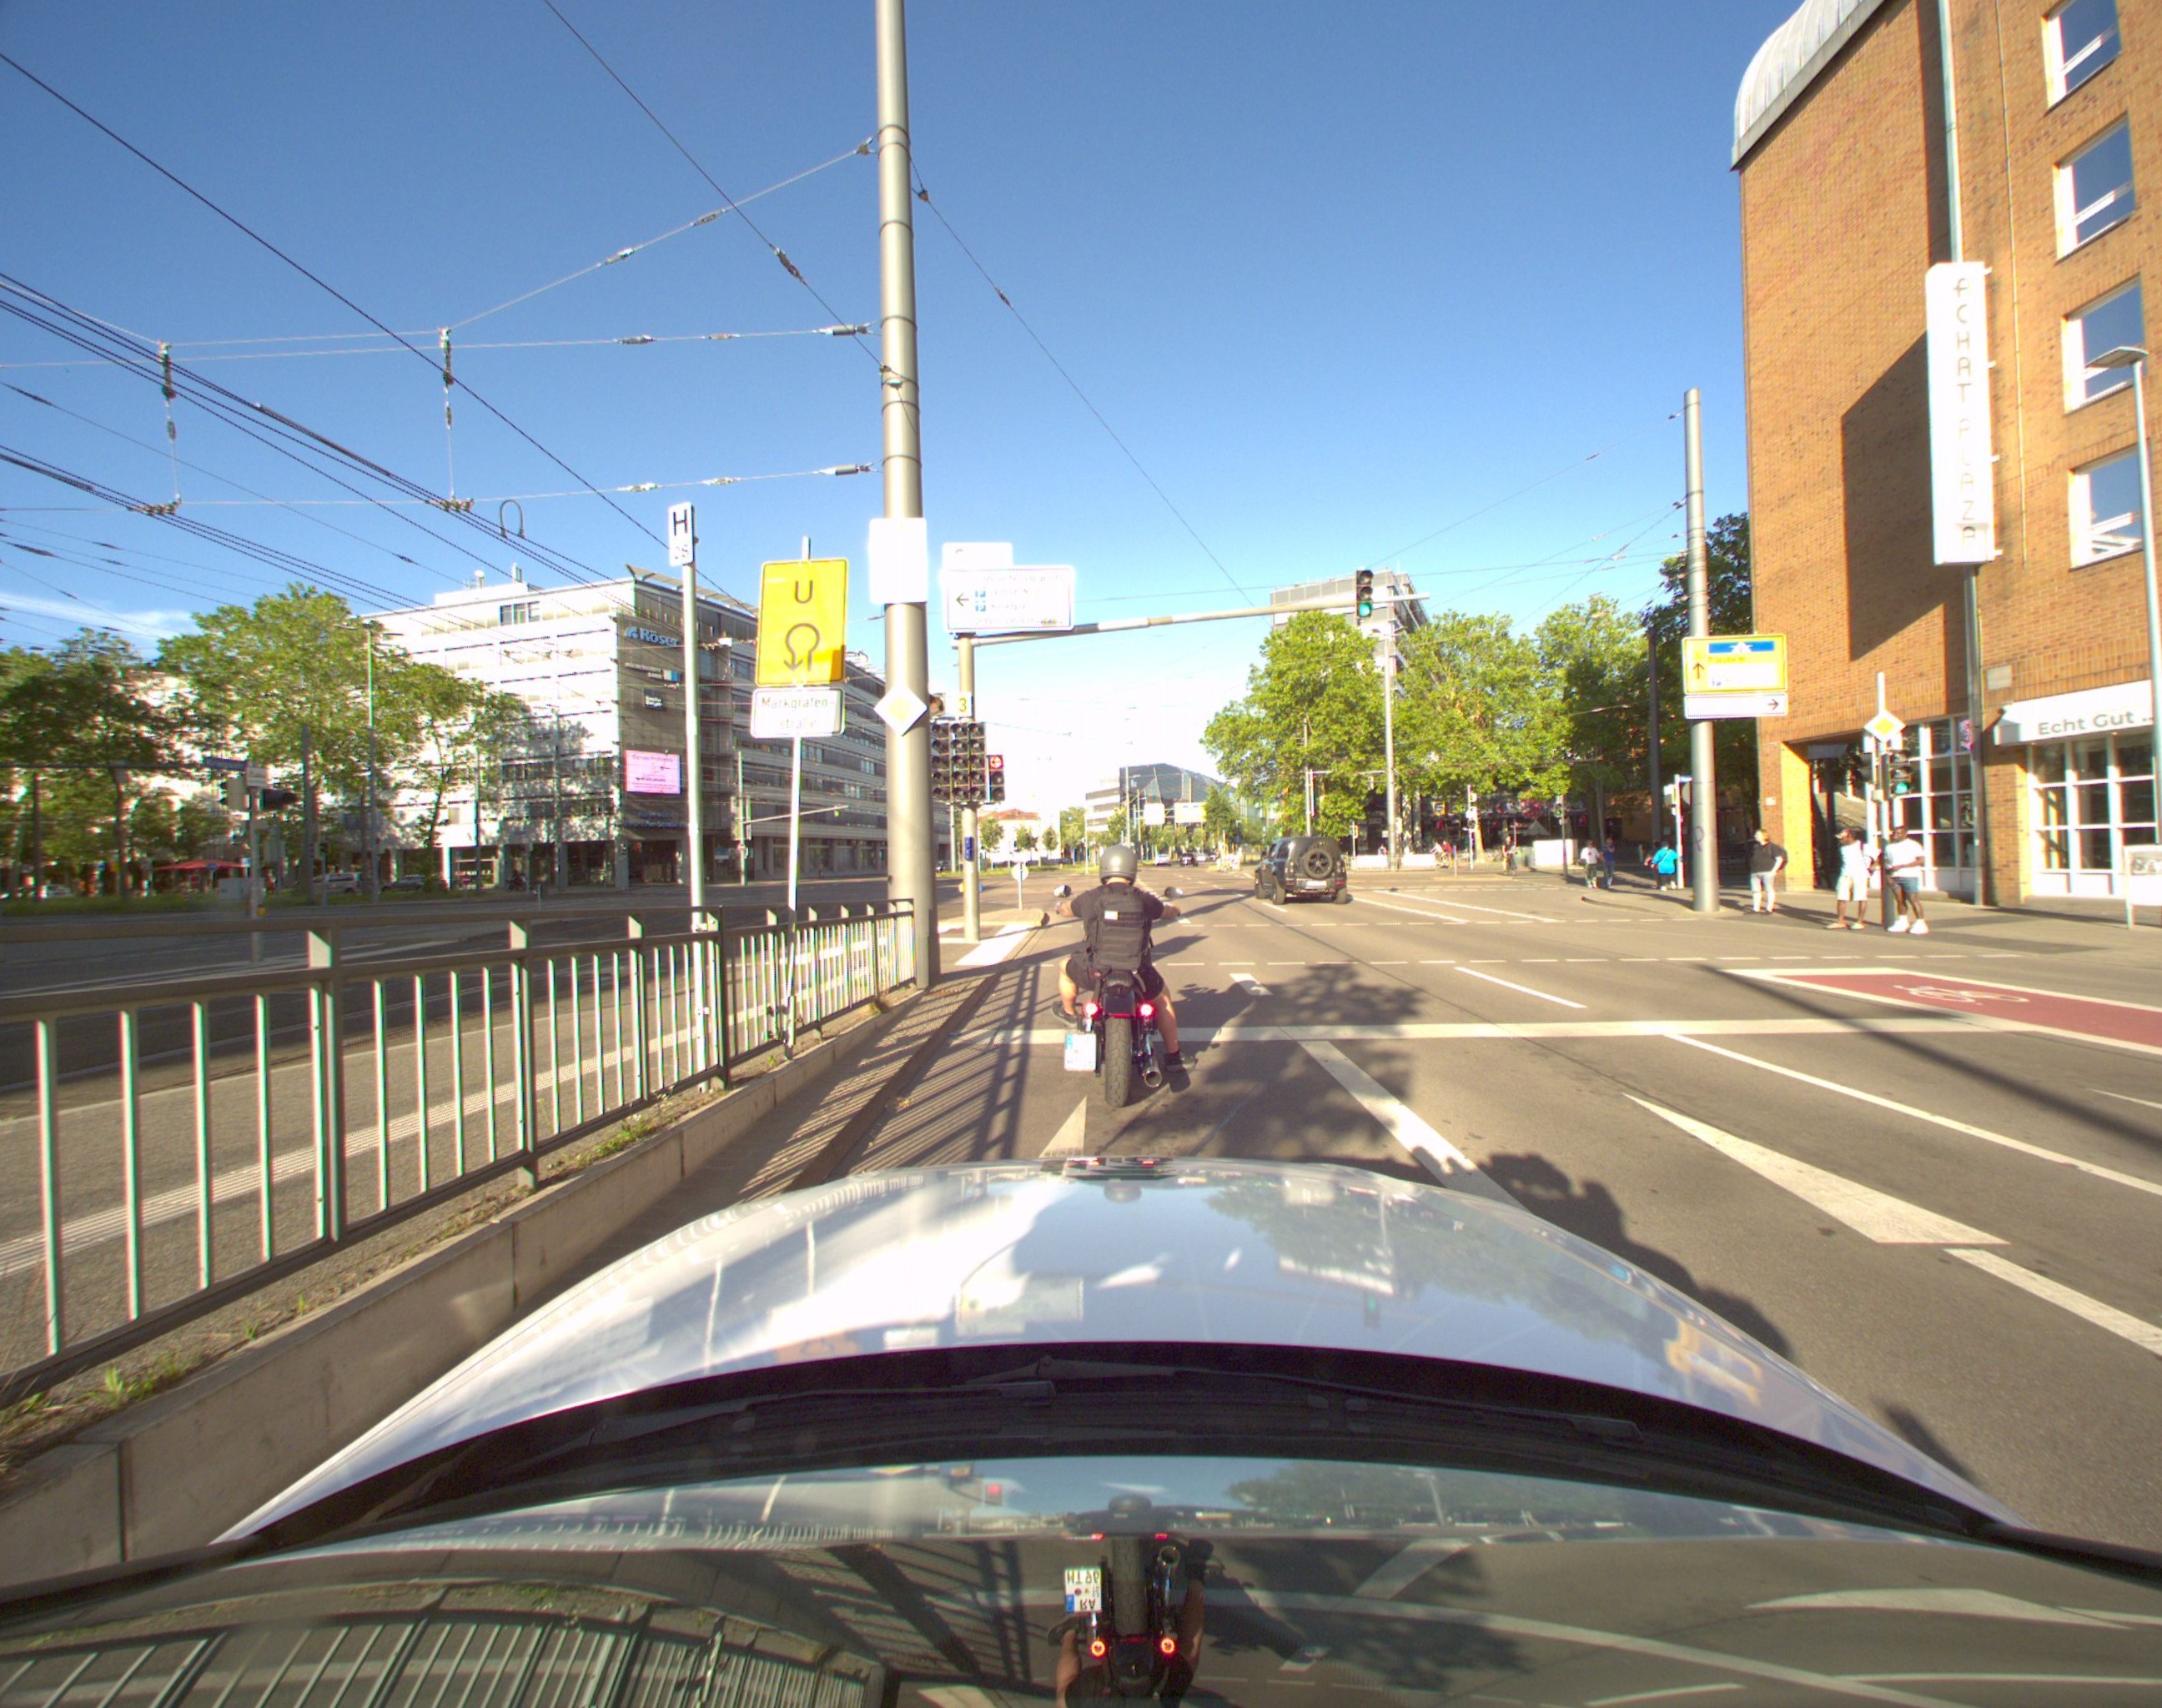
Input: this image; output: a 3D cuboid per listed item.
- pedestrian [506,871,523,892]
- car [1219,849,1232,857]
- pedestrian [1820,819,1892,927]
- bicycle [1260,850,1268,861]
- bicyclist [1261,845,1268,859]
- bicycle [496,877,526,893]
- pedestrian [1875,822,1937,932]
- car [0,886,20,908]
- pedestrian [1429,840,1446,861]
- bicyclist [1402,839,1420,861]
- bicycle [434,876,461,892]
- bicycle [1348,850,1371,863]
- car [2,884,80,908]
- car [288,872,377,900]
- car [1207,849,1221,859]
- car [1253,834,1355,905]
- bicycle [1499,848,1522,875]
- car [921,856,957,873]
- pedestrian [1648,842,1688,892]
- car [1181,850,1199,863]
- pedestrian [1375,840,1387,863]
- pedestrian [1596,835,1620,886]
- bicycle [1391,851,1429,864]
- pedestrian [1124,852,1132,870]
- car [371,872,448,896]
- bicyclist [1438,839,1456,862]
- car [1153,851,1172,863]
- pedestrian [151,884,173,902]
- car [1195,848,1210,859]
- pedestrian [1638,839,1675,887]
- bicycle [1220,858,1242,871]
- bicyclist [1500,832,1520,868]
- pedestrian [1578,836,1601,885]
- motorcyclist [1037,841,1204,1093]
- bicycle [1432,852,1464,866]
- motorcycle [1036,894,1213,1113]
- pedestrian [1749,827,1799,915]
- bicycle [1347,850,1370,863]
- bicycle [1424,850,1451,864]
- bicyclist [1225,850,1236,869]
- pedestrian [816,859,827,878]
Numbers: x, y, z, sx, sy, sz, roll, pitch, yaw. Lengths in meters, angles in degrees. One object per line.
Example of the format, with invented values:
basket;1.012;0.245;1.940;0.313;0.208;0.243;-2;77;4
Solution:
pedestrian;-43.488;2.100;62.532;0.831;1.610;0.607;0;3;5
car;27.698;-0.233;155.714;1.705;1.484;3.774;-2;0;22
pedestrian;13.586;0.326;14.281;0.500;1.833;0.725;-3;-1;-33
bicycle;24.442;0.171;108.585;0.854;1.481;2.586;-2;0;15
bicyclist;24.435;-0.329;108.611;0.854;1.841;1.262;-2;0;14
bicycle;-43.540;2.344;62.187;1.834;1.163;0.613;-1;3;3
pedestrian;13.758;0.376;13.580;0.407;1.774;0.573;-3;-1;-33
car;-85.488;3.406;63.081;4.056;1.629;1.995;-2;1;2
pedestrian;26.749;-0.255;61.102;0.840;1.594;0.765;0;-1;-27
bicyclist;29.162;-0.353;72.020;1.222;1.931;0.835;-1;0;2
bicycle;-51.195;2.419;65.853;0.466;1.151;1.844;-1;1;9
bicycle;22.308;0.181;65.176;1.692;0.986;0.392;-2;0;15
car;-79.780;3.177;62.493;3.835;1.638;1.869;-2;0;6
car;-56.281;2.381;61.313;4.888;1.843;1.930;-2;2;3
car;24.069;-0.041;147.526;1.706;1.657;3.773;-2;0;20
car;6.424;0.437;23.943;2.044;1.874;4.230;0;-1;3
bicycle;18.967;0.311;35.953;0.595;1.050;1.892;-6;0;21
car;-13.807;1.000;79.228;1.779;1.465;4.327;-2;0;14
pedestrian;18.306;0.390;25.401;0.674;1.540;0.741;0;-1;-6
car;12.948;0.321;96.766;1.830;1.464;4.012;-1;-1;11
pedestrian;24.408;-0.169;66.179;0.840;1.852;0.813;1;0;16
pedestrian;18.274;0.230;28.241;0.596;1.727;0.606;-1;-1;43
bicycle;29.100;0.300;72.005;3.029;1.113;0.835;-1;0;2
pedestrian;4.009;0.590;69.720;0.654;1.582;0.490;-1;0;5
car;-50.480;2.277;61.238;4.378;1.572;1.869;-2;1;6
bicyclist;25.214;-0.241;56.117;0.921;1.615;0.638;-2;0;5
car;10.179;0.408;101.491;1.888;1.508;4.014;-1;-1;13
pedestrian;-81.918;3.434;72.605;0.985;1.546;0.875;-2;-1;9
car;20.797;-0.118;139.295;1.804;1.818;3.962;-2;0;18
pedestrian;18.623;0.282;26.362;0.649;1.540;0.741;0;-1;-6
bicycle;12.325;0.900;66.986;1.612;1.021;0.519;-2;-1;25
bicyclist;18.966;-0.184;35.996;0.574;1.515;0.855;-5;1;21
pedestrian;17.777;0.224;28.489;0.556;1.704;0.663;-1;-1;41
motorcyclist;0.263;0.697;5.670;1.018;1.552;1.287;0;0;1
bicycle;25.286;0.349;56.113;1.844;0.910;0.653;-2;0;6
motorcycle;0.286;0.912;5.817;1.002;1.125;2.324;0;0;2
pedestrian;14.279;0.339;16.790;0.577;1.767;0.687;-1;1;-39
bicycle;22.504;0.217;66.017;1.692;0.986;0.392;-2;0;15
bicycle;26.726;0.196;61.080;1.927;1.052;0.785;0;-1;-28
bicyclist;12.312;0.449;66.988;0.736;1.503;0.573;-2;-1;25
pedestrian;-26.574;1.480;83.442;0.670;1.823;0.888;-3;-1;12
